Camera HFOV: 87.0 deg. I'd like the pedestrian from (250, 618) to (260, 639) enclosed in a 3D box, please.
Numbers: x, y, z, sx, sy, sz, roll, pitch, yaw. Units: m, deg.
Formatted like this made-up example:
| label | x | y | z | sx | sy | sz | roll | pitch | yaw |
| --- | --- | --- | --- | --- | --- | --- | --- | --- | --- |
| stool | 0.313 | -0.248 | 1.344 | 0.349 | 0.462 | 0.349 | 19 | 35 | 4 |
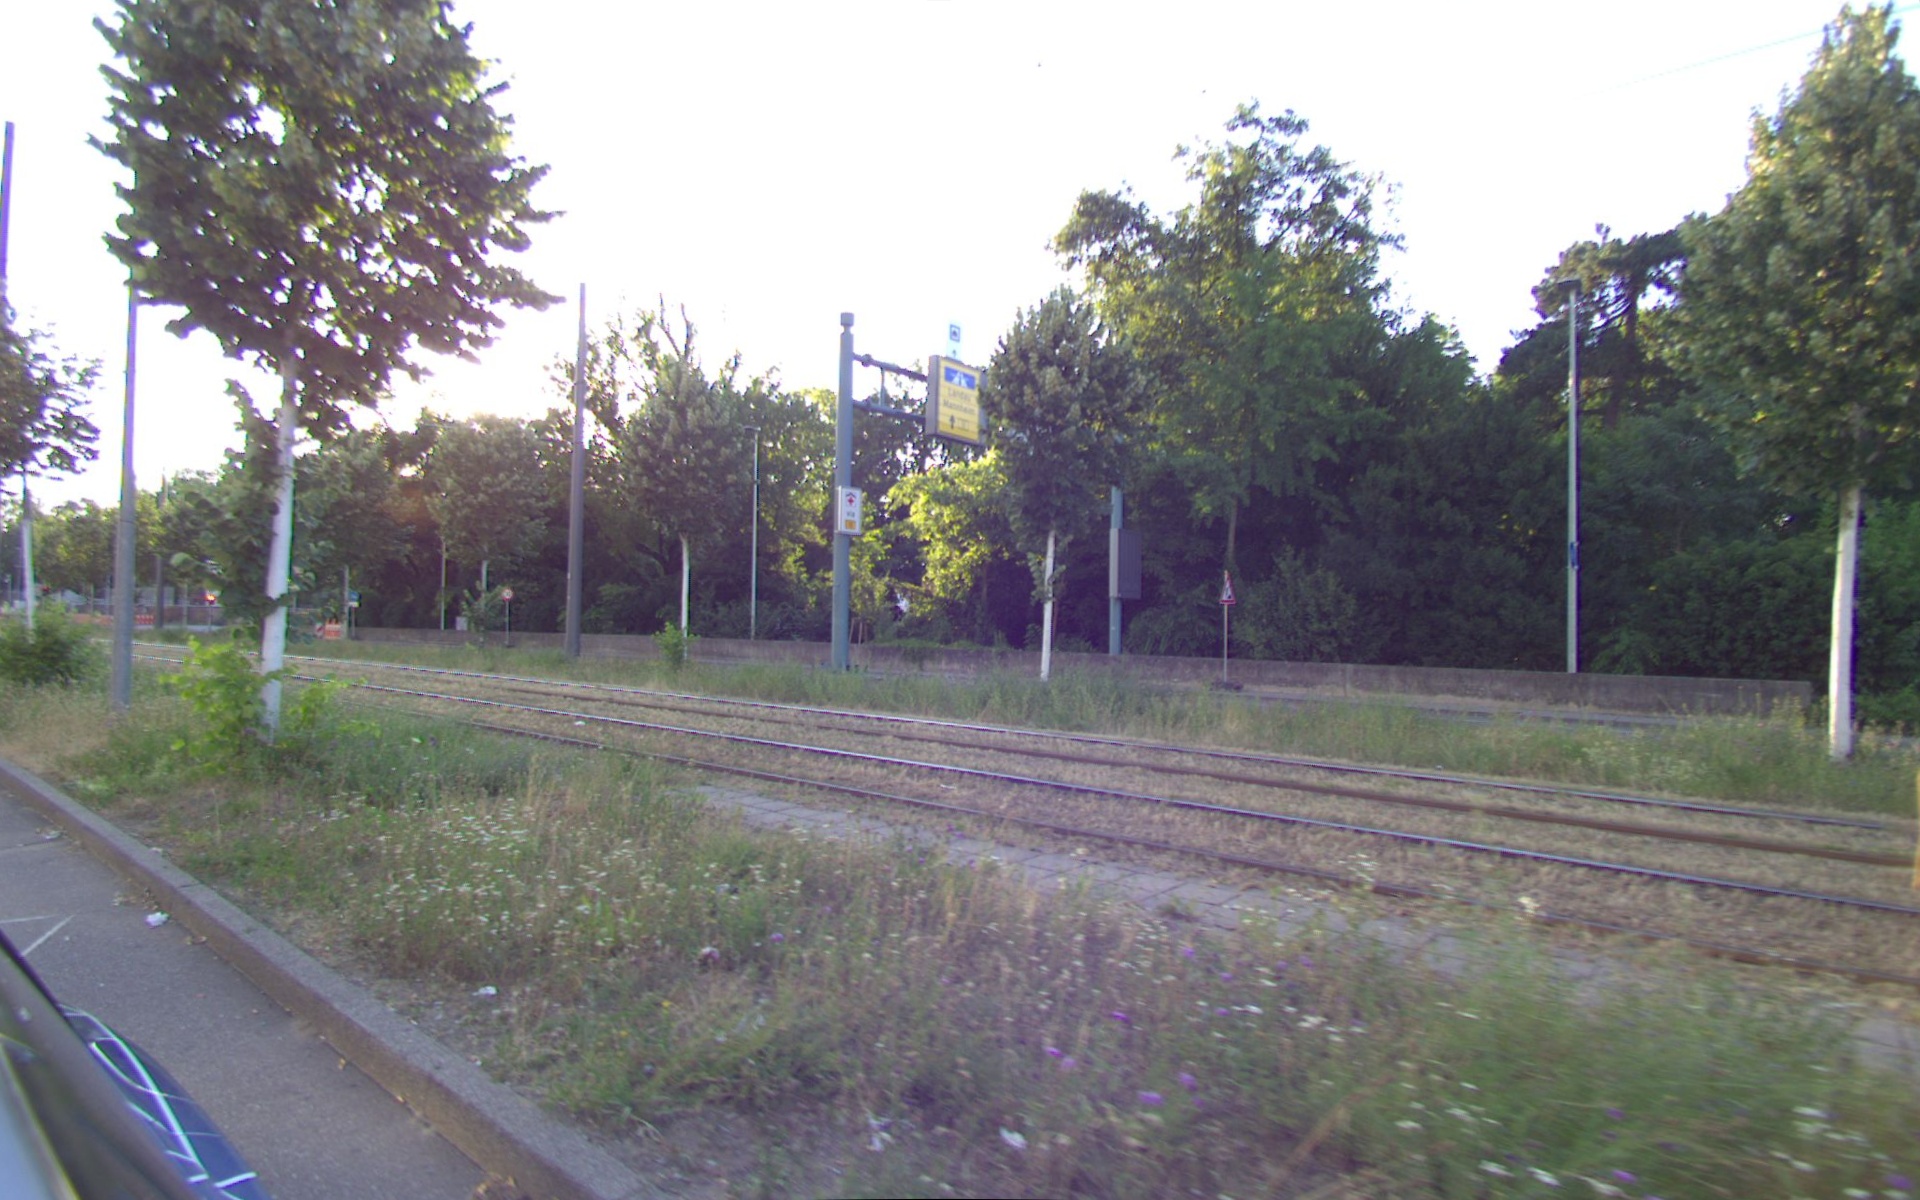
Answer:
| label | x | y | z | sx | sy | sz | roll | pitch | yaw |
| --- | --- | --- | --- | --- | --- | --- | --- | --- | --- |
| pedestrian | -57.369 | 2.332 | 82.369 | 0.660 | 1.620 | 0.679 | -1 | -4 | -37 |
